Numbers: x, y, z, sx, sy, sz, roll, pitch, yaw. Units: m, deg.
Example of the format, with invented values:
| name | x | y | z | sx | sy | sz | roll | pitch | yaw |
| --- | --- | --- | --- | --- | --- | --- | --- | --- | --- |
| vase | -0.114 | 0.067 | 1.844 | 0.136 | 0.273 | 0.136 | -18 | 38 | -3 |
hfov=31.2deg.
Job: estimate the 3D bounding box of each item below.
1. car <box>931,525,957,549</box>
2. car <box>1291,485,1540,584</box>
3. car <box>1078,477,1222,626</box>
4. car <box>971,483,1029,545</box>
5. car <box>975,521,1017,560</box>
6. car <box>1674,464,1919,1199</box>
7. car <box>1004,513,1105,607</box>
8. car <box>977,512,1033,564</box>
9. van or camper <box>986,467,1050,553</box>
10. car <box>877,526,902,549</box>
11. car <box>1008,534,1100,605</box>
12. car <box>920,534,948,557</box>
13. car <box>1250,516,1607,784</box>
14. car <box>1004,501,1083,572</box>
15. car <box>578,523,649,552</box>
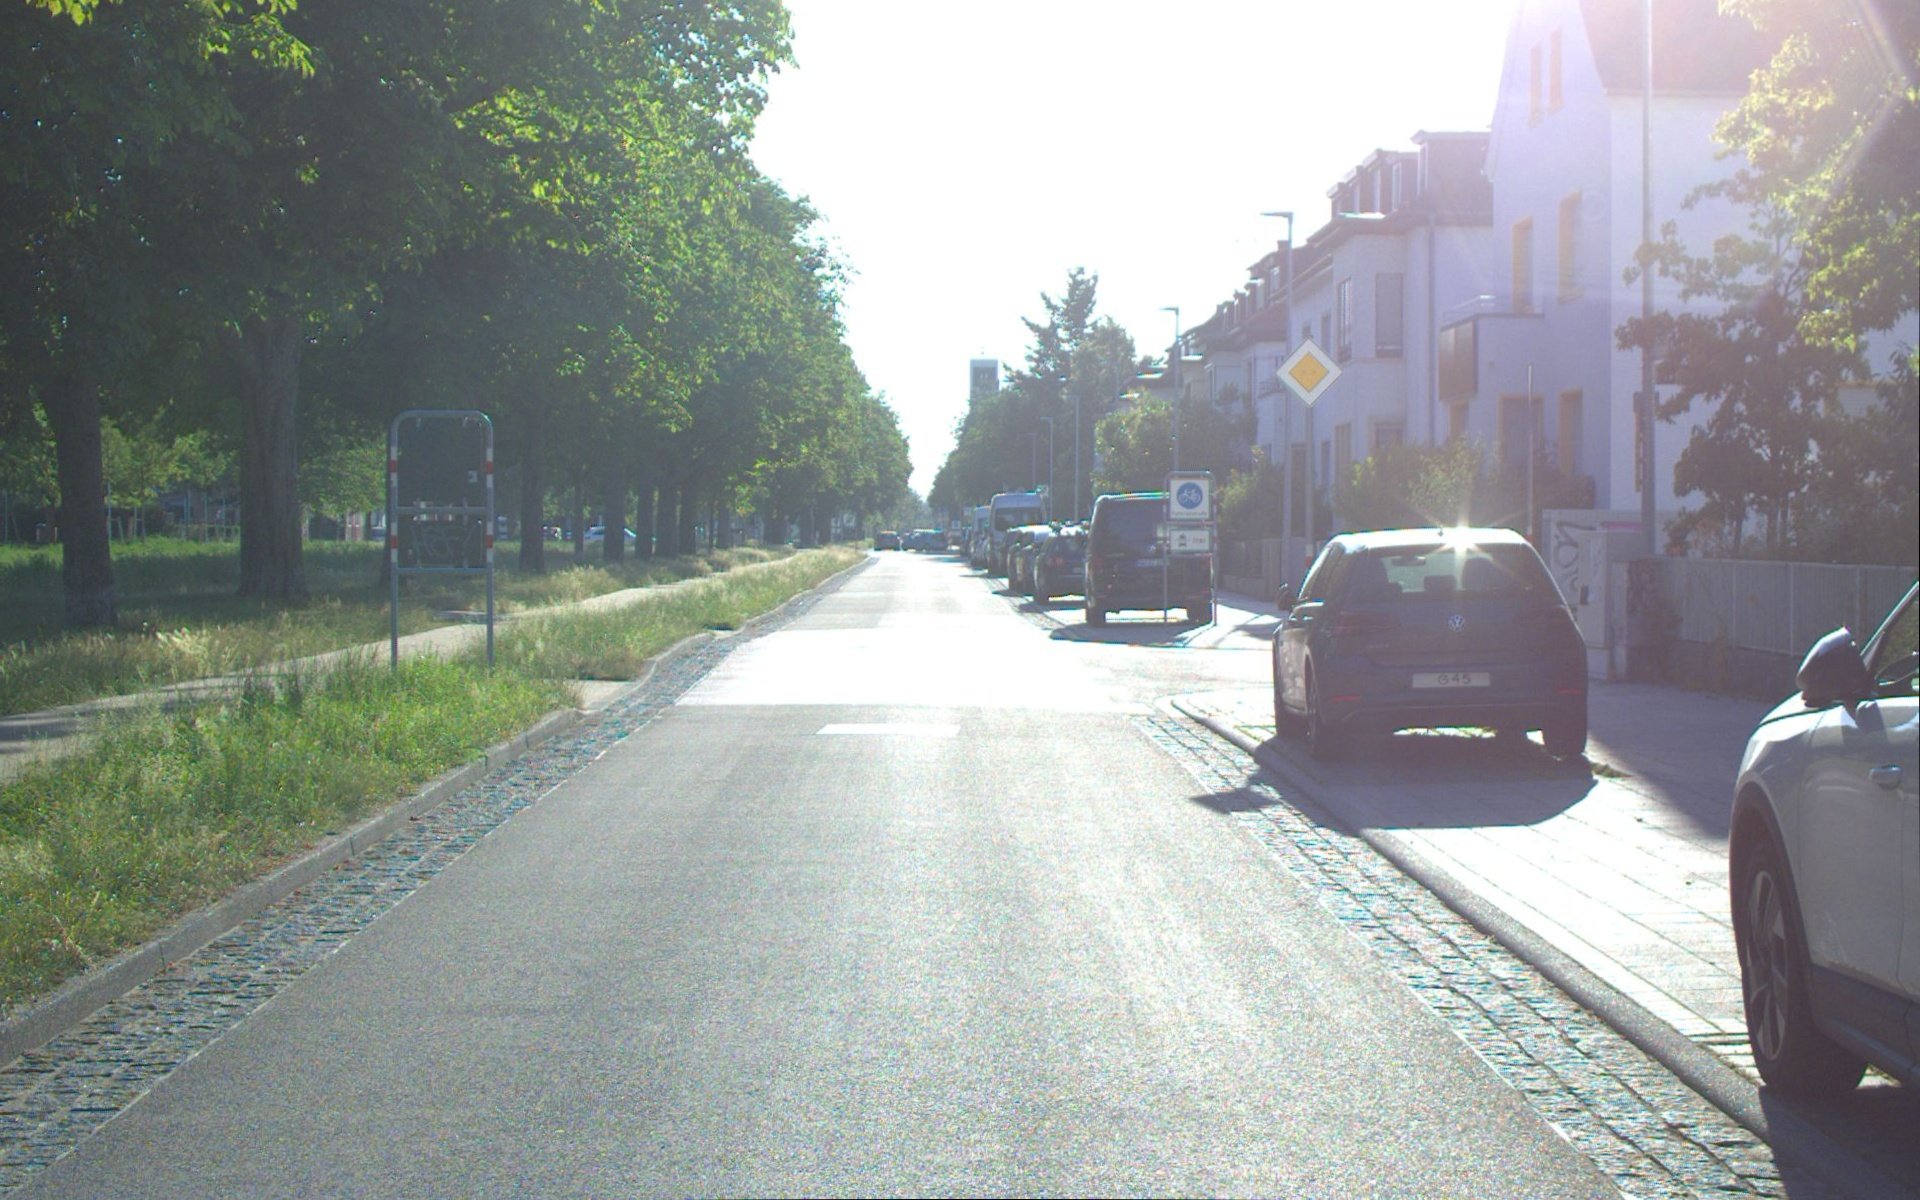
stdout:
| name | x | y | z | sx | sy | sz | roll | pitch | yaw |
| --- | --- | --- | --- | --- | --- | --- | --- | --- | --- |
| car | -1.056 | -4.260 | 232.540 | 1.650 | 1.525 | 3.851 | 2 | 2 | 1 |
| car | 8.298 | -1.201 | 62.841 | 4.216 | 1.720 | 1.853 | -1 | 1 | -4 |
| car | 2.876 | -0.785 | 53.022 | 1.906 | 2.124 | 4.814 | -2 | 2 | 0 |
| car | 1.680 | -3.644 | 144.984 | 2.126 | 2.524 | 5.189 | -1 | 2 | -2 |
| car | 1.446 | -2.414 | 138.729 | 1.650 | 1.525 | 3.851 | -1 | 2 | 1 |
| car | 3.049 | 0.527 | 7.850 | 1.905 | 1.702 | 4.575 | -2 | 2 | 1 |
| car | 1.881 | -0.836 | 69.603 | 1.794 | 1.765 | 4.473 | -2 | 2 | -1 |
| car | 1.407 | -1.954 | 108.143 | 1.663 | 1.587 | 4.086 | 1 | 1 | 0 |
| van or camper | 1.900 | -2.966 | 114.684 | 1.943 | 2.768 | 5.940 | 1 | 1 | 0 |
| car | -5.197 | -4.591 | 252.507 | 1.650 | 1.525 | 3.851 | 3 | 2 | 1 |
| car | 2.197 | -0.741 | 81.330 | 1.717 | 1.568 | 4.211 | -2 | 1 | -4 |
| car | -1.800 | -3.796 | 238.998 | 1.863 | 1.591 | 3.870 | 1 | 1 | -1 |
| car | 3.044 | 0.259 | 23.133 | 1.794 | 1.477 | 4.124 | -3 | 3 | 0 |
| car | 2.092 | -1.623 | 87.242 | 1.832 | 1.679 | 4.416 | 2 | 2 | 0 |
| car | -21.938 | -3.969 | 217.703 | 4.345 | 1.758 | 2.001 | 1 | 1 | -9 |
